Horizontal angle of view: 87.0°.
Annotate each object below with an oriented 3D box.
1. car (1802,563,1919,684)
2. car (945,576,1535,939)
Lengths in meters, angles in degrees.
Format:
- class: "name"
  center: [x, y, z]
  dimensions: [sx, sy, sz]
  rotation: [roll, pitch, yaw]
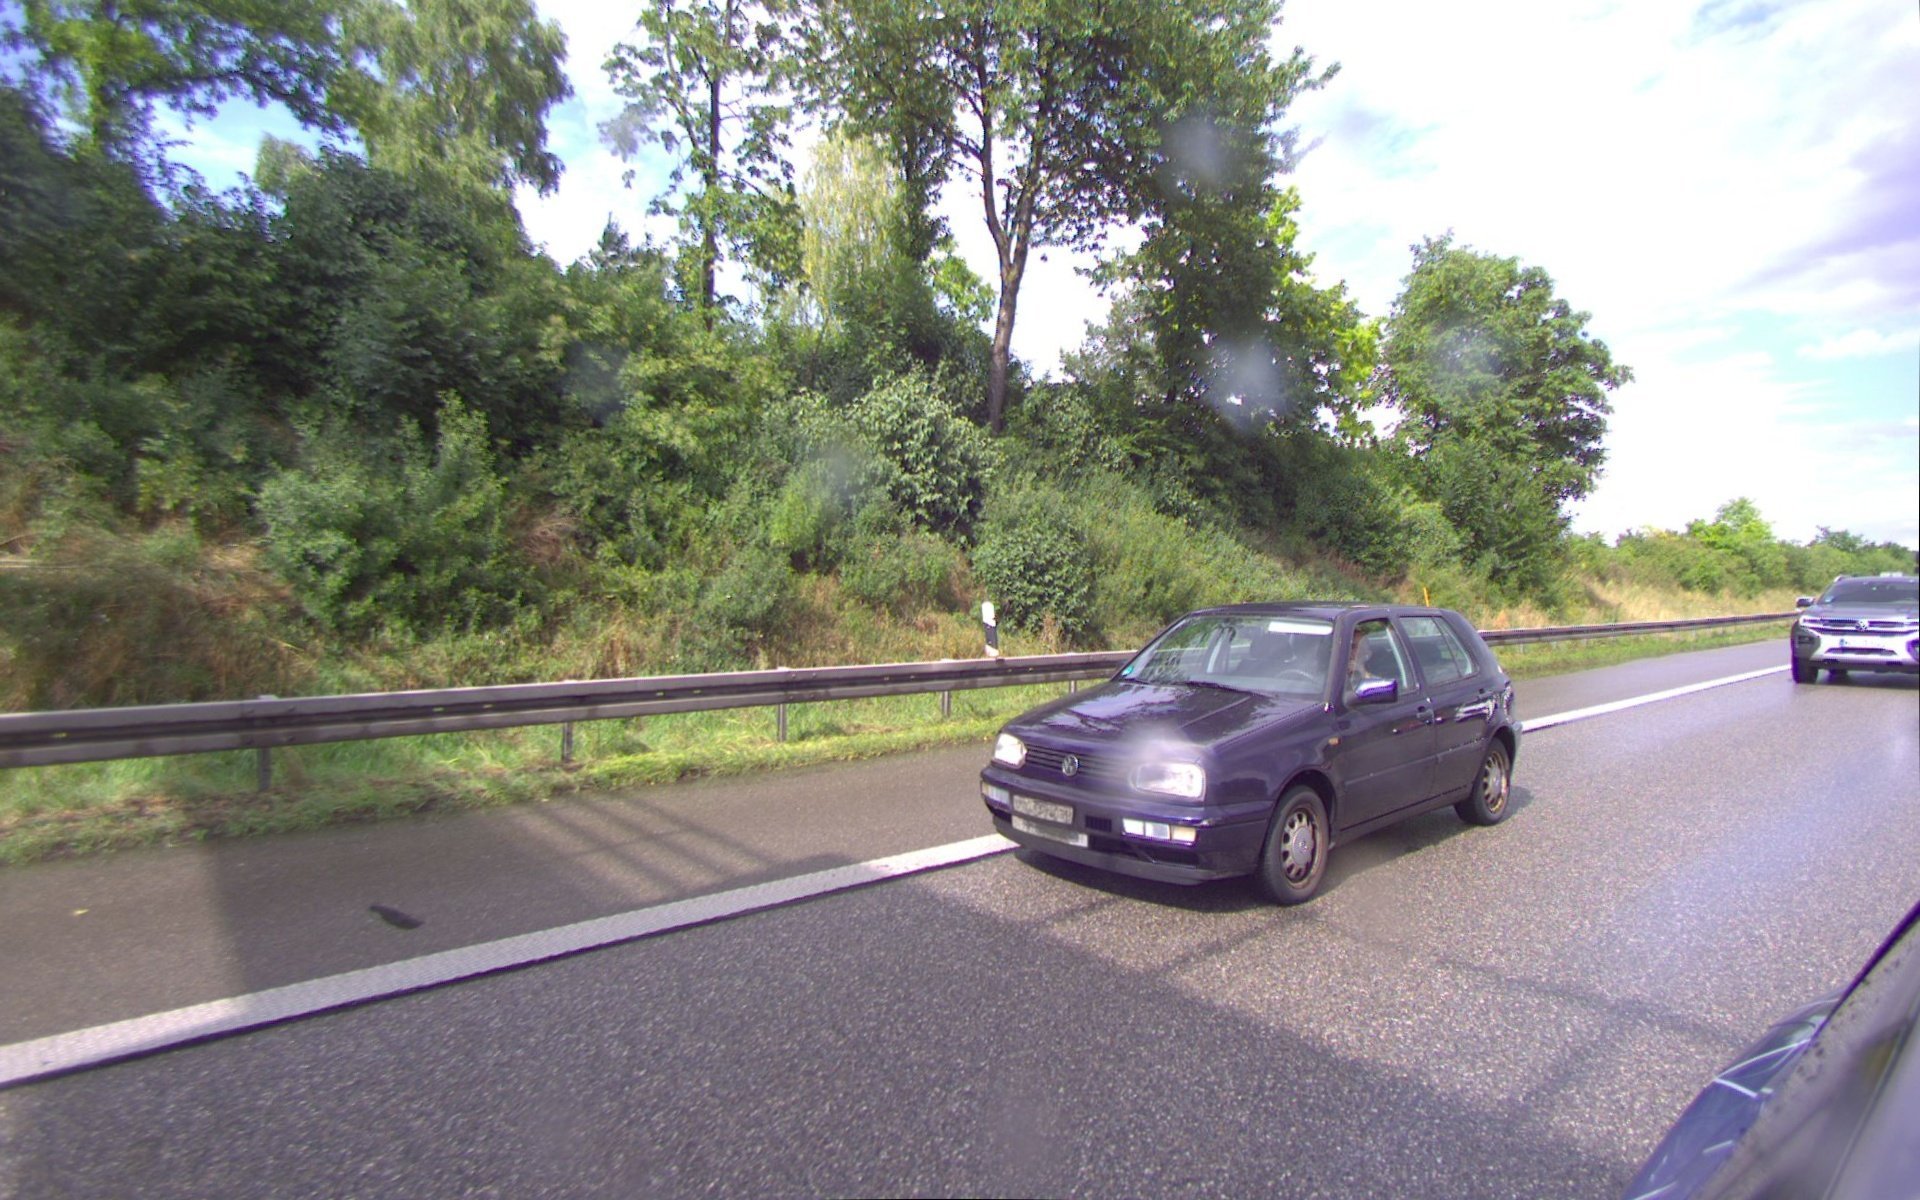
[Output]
- class: "car"
  center: [16.123, 0.321, 17.309]
  dimensions: [5.213, 1.826, 1.830]
  rotation: [0, 1, -41]
- class: "car"
  center: [1.827, 0.608, 5.958]
  dimensions: [3.681, 1.474, 1.653]
  rotation: [-1, 1, -42]
